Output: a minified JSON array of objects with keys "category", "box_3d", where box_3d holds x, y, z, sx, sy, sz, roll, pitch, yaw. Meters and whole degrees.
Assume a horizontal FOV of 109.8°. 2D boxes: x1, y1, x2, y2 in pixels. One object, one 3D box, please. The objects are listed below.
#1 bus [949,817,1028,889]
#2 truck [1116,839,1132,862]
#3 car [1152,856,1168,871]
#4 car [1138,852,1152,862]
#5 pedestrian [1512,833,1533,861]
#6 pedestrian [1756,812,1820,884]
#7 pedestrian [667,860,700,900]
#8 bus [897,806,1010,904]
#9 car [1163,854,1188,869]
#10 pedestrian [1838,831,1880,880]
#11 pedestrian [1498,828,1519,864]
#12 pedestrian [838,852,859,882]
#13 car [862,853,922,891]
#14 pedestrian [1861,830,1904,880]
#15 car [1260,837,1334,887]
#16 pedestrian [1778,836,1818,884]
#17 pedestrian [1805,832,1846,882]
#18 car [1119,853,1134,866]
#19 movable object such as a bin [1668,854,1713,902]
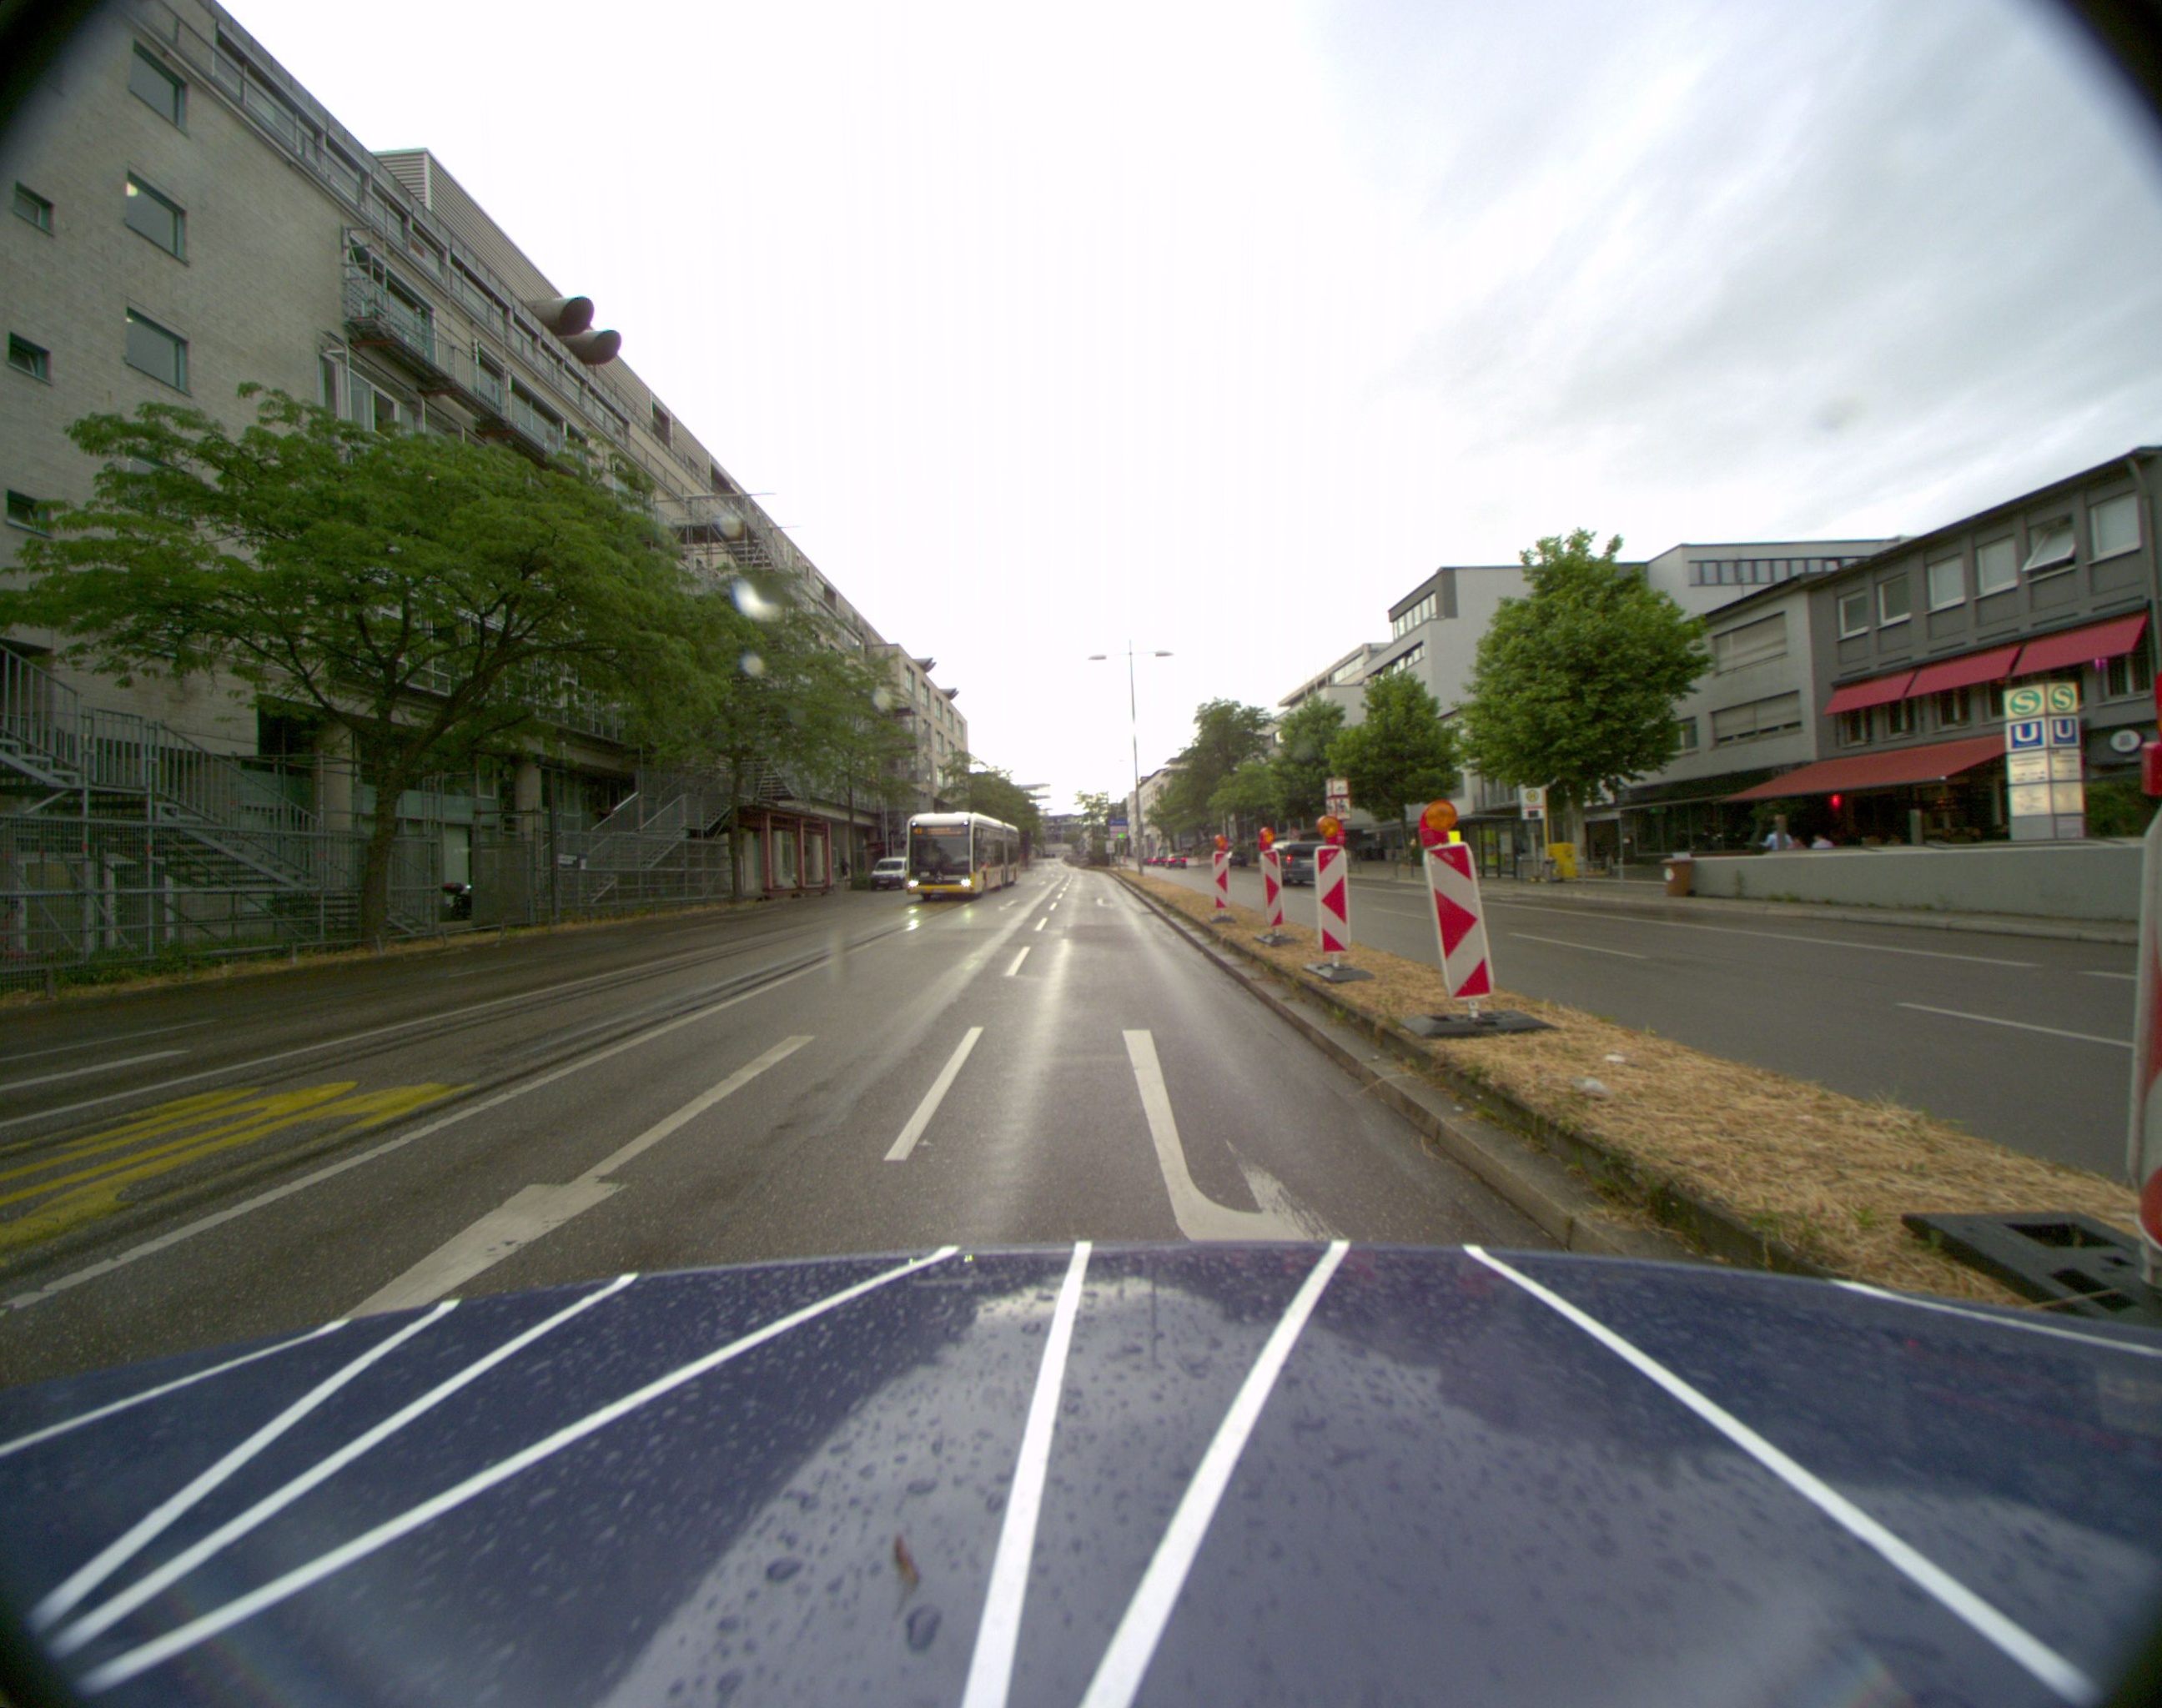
[{"category":"bus","box_3d":[-4.878,-0.123,41.985,2.890,3.420,9.709,-2,1,1]},{"category":"truck","box_3d":[7.115,-0.548,127.120,1.999,3.557,7.572,-2,0,-2]},{"category":"car","box_3d":[10.561,1.275,102.185,1.691,1.421,4.220,-2,-8,0]},{"category":"car","box_3d":[10.277,0.452,121.776,1.692,1.545,4.419,-2,1,-2]},{"category":"pedestrian","box_3d":[24.967,-0.406,42.997,0.774,1.556,0.767,-2,1,8]},{"category":"pedestrian","box_3d":[20.450,-0.163,21.994,0.922,2.002,0.944,-2,1,0]},{"category":"pedestrian","box_3d":[-18.192,1.182,34.775,1.010,1.789,0.845,-2,1,-3]},{"category":"bus","box_3d":[-5.042,-0.014,32.263,2.890,3.430,9.756,-2,1,1]},{"category":"car","box_3d":[9.249,0.729,74.446,1.692,1.501,4.290,0,0,-3]},{"category":"pedestrian","box_3d":[25.022,0.048,24.445,0.669,1.520,0.611,-2,1,4]},{"category":"pedestrian","box_3d":[23.965,-0.463,42.620,0.774,2.002,0.767,-2,1,8]},{"category":"pedestrian","box_3d":[-15.999,0.895,52.239,1.009,2.002,1.039,-2,1,1]},{"category":"car","box_3d":[-10.521,0.963,42.662,2.213,1.895,4.329,-2,1,0]},{"category":"pedestrian","box_3d":[24.991,0.041,23.710,0.669,1.520,0.611,-2,1,3]},{"category":"car","box_3d":[9.303,0.271,33.226,1.998,1.916,4.965,-2,1,3]},{"category":"pedestrian","box_3d":[23.267,0.183,24.665,0.669,1.520,0.611,-2,1,3]},{"category":"pedestrian","box_3d":[23.276,0.092,23.762,0.669,1.520,0.611,-2,1,3]},{"category":"car","box_3d":[7.226,0.857,121.974,1.999,2.002,3.999,-2,1,-2]},{"category":"movable object such as a bin","box_3d":[14.566,0.557,18.172,0.507,1.094,0.660,-2,1,-2]}]
